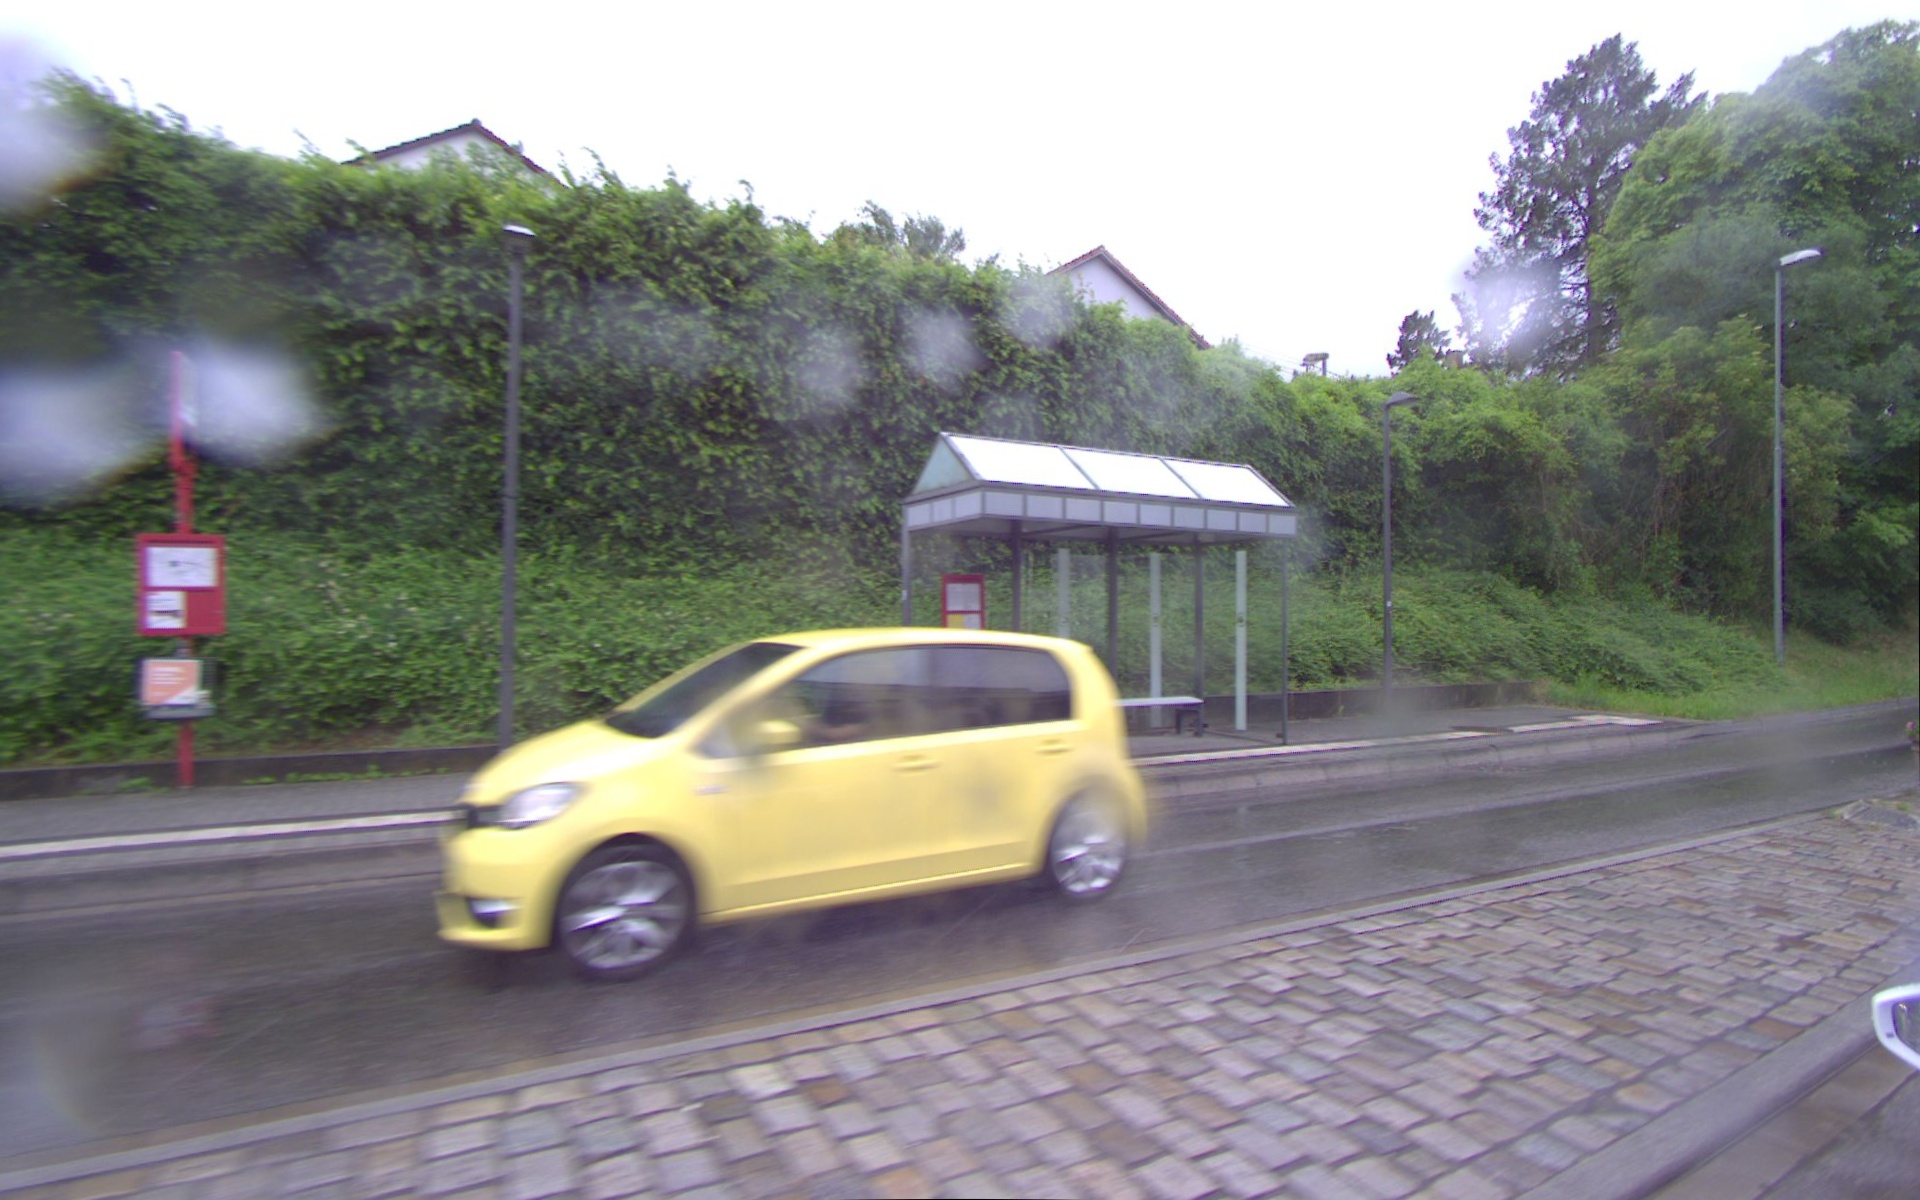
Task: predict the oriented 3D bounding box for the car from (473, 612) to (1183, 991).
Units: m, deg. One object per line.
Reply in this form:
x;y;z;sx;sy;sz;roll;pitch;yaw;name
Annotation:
-0.637;0.814;5.366;3.433;1.429;1.565;1;-2;-31;car
